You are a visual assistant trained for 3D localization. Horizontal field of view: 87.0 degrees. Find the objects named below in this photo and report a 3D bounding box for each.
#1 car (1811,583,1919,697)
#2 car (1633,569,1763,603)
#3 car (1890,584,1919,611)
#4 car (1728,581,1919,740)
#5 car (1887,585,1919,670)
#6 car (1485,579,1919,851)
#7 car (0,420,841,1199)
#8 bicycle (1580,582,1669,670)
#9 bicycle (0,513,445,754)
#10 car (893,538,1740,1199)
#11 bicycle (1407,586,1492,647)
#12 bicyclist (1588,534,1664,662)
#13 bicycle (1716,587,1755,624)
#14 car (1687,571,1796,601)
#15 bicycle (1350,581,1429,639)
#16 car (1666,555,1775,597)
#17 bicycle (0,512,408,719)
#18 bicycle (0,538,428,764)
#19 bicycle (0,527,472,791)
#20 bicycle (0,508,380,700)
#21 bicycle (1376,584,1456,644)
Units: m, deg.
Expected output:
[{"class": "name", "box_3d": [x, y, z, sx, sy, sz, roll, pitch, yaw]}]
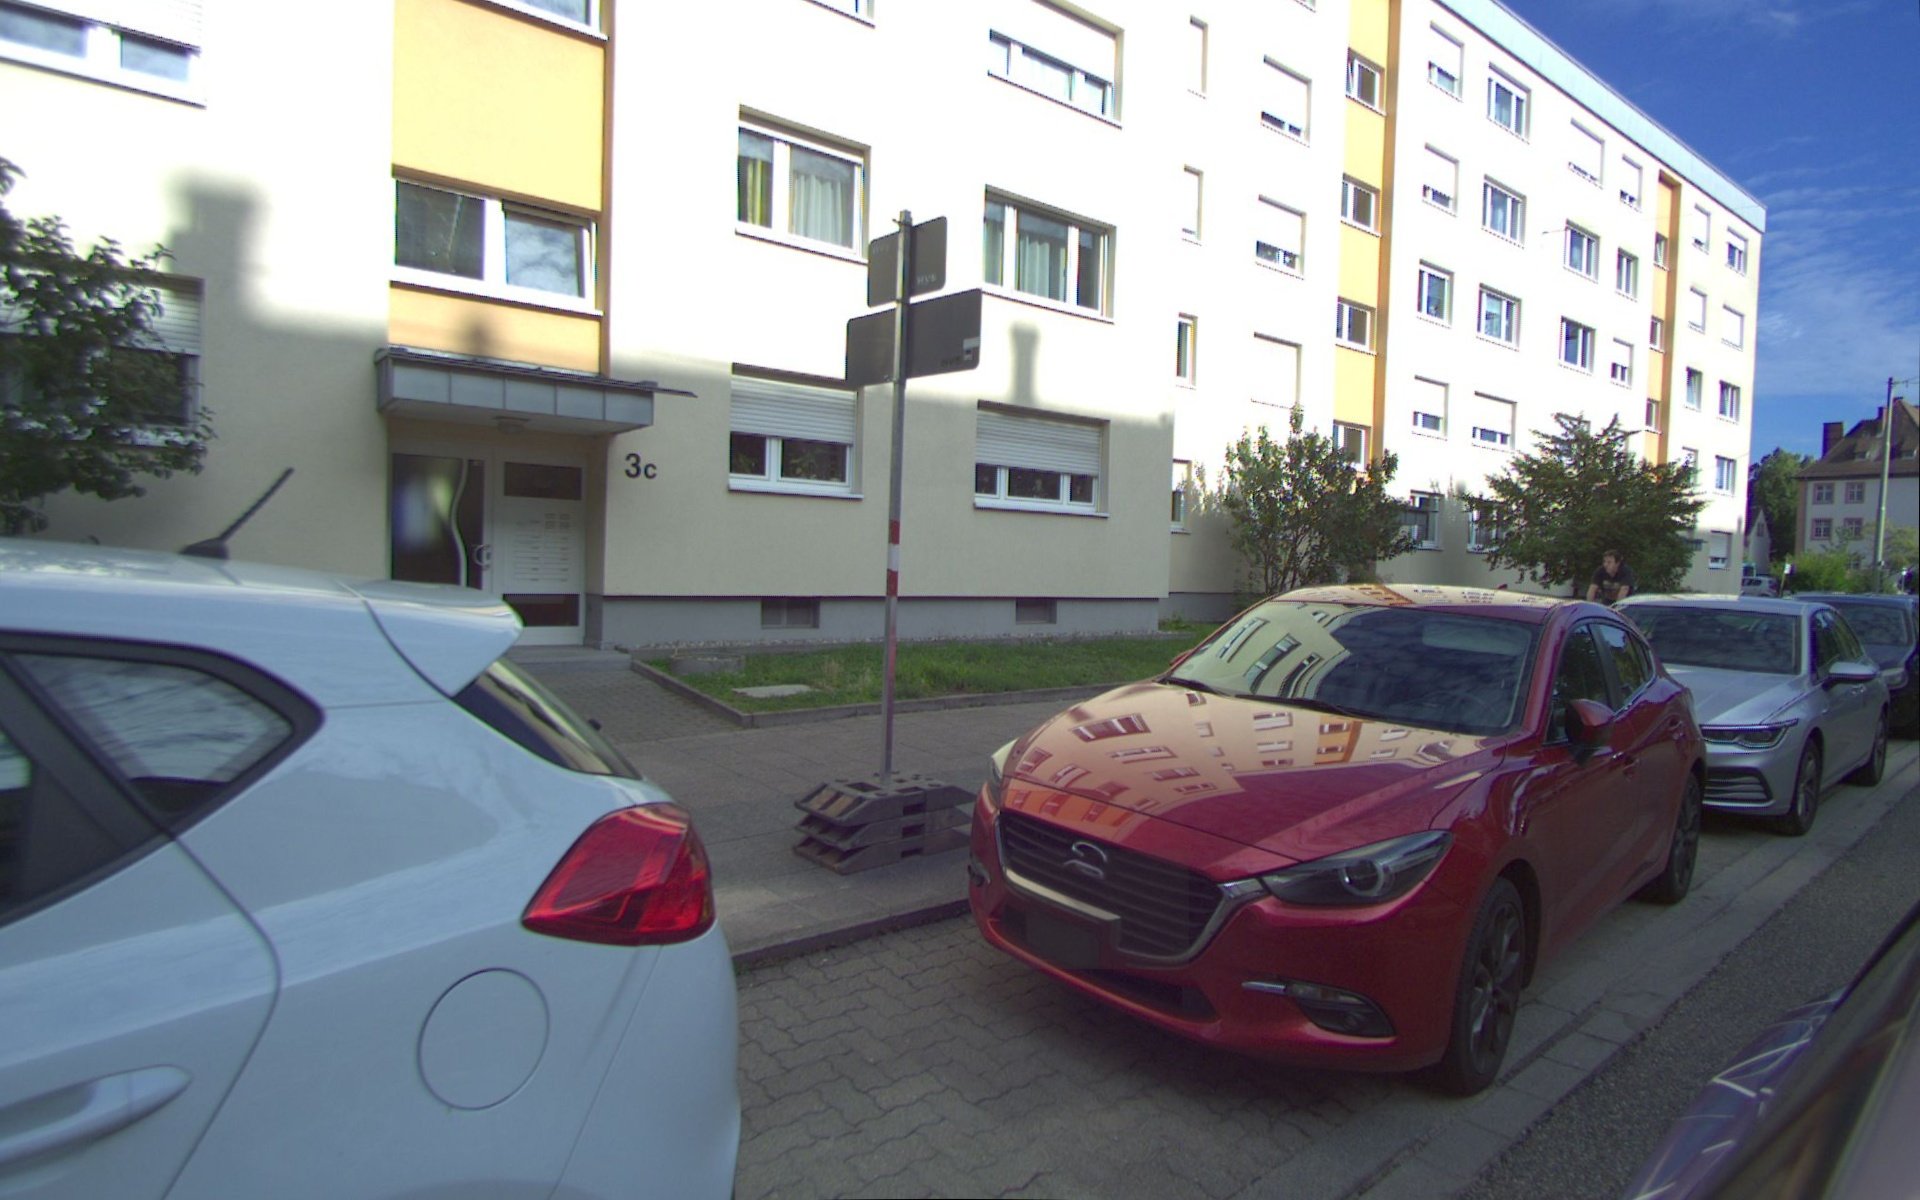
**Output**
[{"class": "car", "box_3d": [14.564, 0.544, 15.444, 4.218, 1.503, 1.688, 0, 4, -41]}, {"class": "car", "box_3d": [35.360, -0.687, 48.606, 1.835, 1.500, 4.683, 0, 2, -35]}, {"class": "car", "box_3d": [63.362, -0.164, 67.044, 4.015, 1.740, 1.889, 0, 2, -38]}, {"class": "car", "box_3d": [10.570, 0.595, 11.921, 3.873, 1.509, 1.665, 0, 3, -42]}, {"class": "car", "box_3d": [18.757, 0.516, 18.916, 4.109, 1.481, 1.703, 0, 3, -43]}, {"class": "car", "box_3d": [5.672, 0.614, 7.534, 3.987, 1.433, 1.666, 0, 4, -40]}, {"class": "car", "box_3d": [-2.279, 0.535, 0.869, 4.045, 1.479, 1.732, 0, 3, -41]}, {"class": "bicycle", "box_3d": [9.291, 0.334, 14.120, 1.896, 1.149, 0.524, 0, 2, -41]}, {"class": "bicycle", "box_3d": [-4.693, 0.159, 6.290, 2.589, 1.306, 0.605, 0, 4, -40]}, {"class": "car", "box_3d": [1.848, 0.585, 4.272, 1.730, 1.533, 4.123, 4, 3, 45]}, {"class": "bicycle", "box_3d": [9.133, 0.285, 18.843, 2.082, 1.043, 0.595, -1, 5, -41]}, {"class": "bicyclist", "box_3d": [9.228, -0.038, 14.021, 0.877, 1.699, 0.624, 0, 1, -41]}, {"class": "bicycle", "box_3d": [23.026, 0.154, 30.046, 1.663, 1.010, 0.597, -2, 3, -41]}, {"class": "car", "box_3d": [40.884, -0.759, 53.028, 1.833, 1.500, 4.095, 0, 2, -31]}, {"class": "bicycle", "box_3d": [8.349, 0.180, 19.638, 2.033, 1.043, 0.503, -1, 5, -41]}, {"class": "car", "box_3d": [42.418, -1.376, 56.547, 2.320, 2.219, 4.285, 0, 2, -32]}, {"class": "bicycle", "box_3d": [-5.528, 0.074, 7.332, 2.589, 1.307, 0.728, 0, 3, -40]}, {"class": "bicycle", "box_3d": [-5.068, 0.282, 6.778, 2.589, 1.306, 0.597, 0, 5, -40]}, {"class": "bicycle", "box_3d": [-4.282, 0.273, 5.811, 2.589, 1.307, 0.605, 0, 3, -40]}, {"class": "bicycle", "box_3d": [-6.031, 0.012, 7.838, 2.589, 1.307, 0.728, 0, 1, -40]}, {"class": "bicycle", "box_3d": [8.677, 0.241, 19.234, 2.059, 1.043, 0.503, -1, 5, -41]}]
